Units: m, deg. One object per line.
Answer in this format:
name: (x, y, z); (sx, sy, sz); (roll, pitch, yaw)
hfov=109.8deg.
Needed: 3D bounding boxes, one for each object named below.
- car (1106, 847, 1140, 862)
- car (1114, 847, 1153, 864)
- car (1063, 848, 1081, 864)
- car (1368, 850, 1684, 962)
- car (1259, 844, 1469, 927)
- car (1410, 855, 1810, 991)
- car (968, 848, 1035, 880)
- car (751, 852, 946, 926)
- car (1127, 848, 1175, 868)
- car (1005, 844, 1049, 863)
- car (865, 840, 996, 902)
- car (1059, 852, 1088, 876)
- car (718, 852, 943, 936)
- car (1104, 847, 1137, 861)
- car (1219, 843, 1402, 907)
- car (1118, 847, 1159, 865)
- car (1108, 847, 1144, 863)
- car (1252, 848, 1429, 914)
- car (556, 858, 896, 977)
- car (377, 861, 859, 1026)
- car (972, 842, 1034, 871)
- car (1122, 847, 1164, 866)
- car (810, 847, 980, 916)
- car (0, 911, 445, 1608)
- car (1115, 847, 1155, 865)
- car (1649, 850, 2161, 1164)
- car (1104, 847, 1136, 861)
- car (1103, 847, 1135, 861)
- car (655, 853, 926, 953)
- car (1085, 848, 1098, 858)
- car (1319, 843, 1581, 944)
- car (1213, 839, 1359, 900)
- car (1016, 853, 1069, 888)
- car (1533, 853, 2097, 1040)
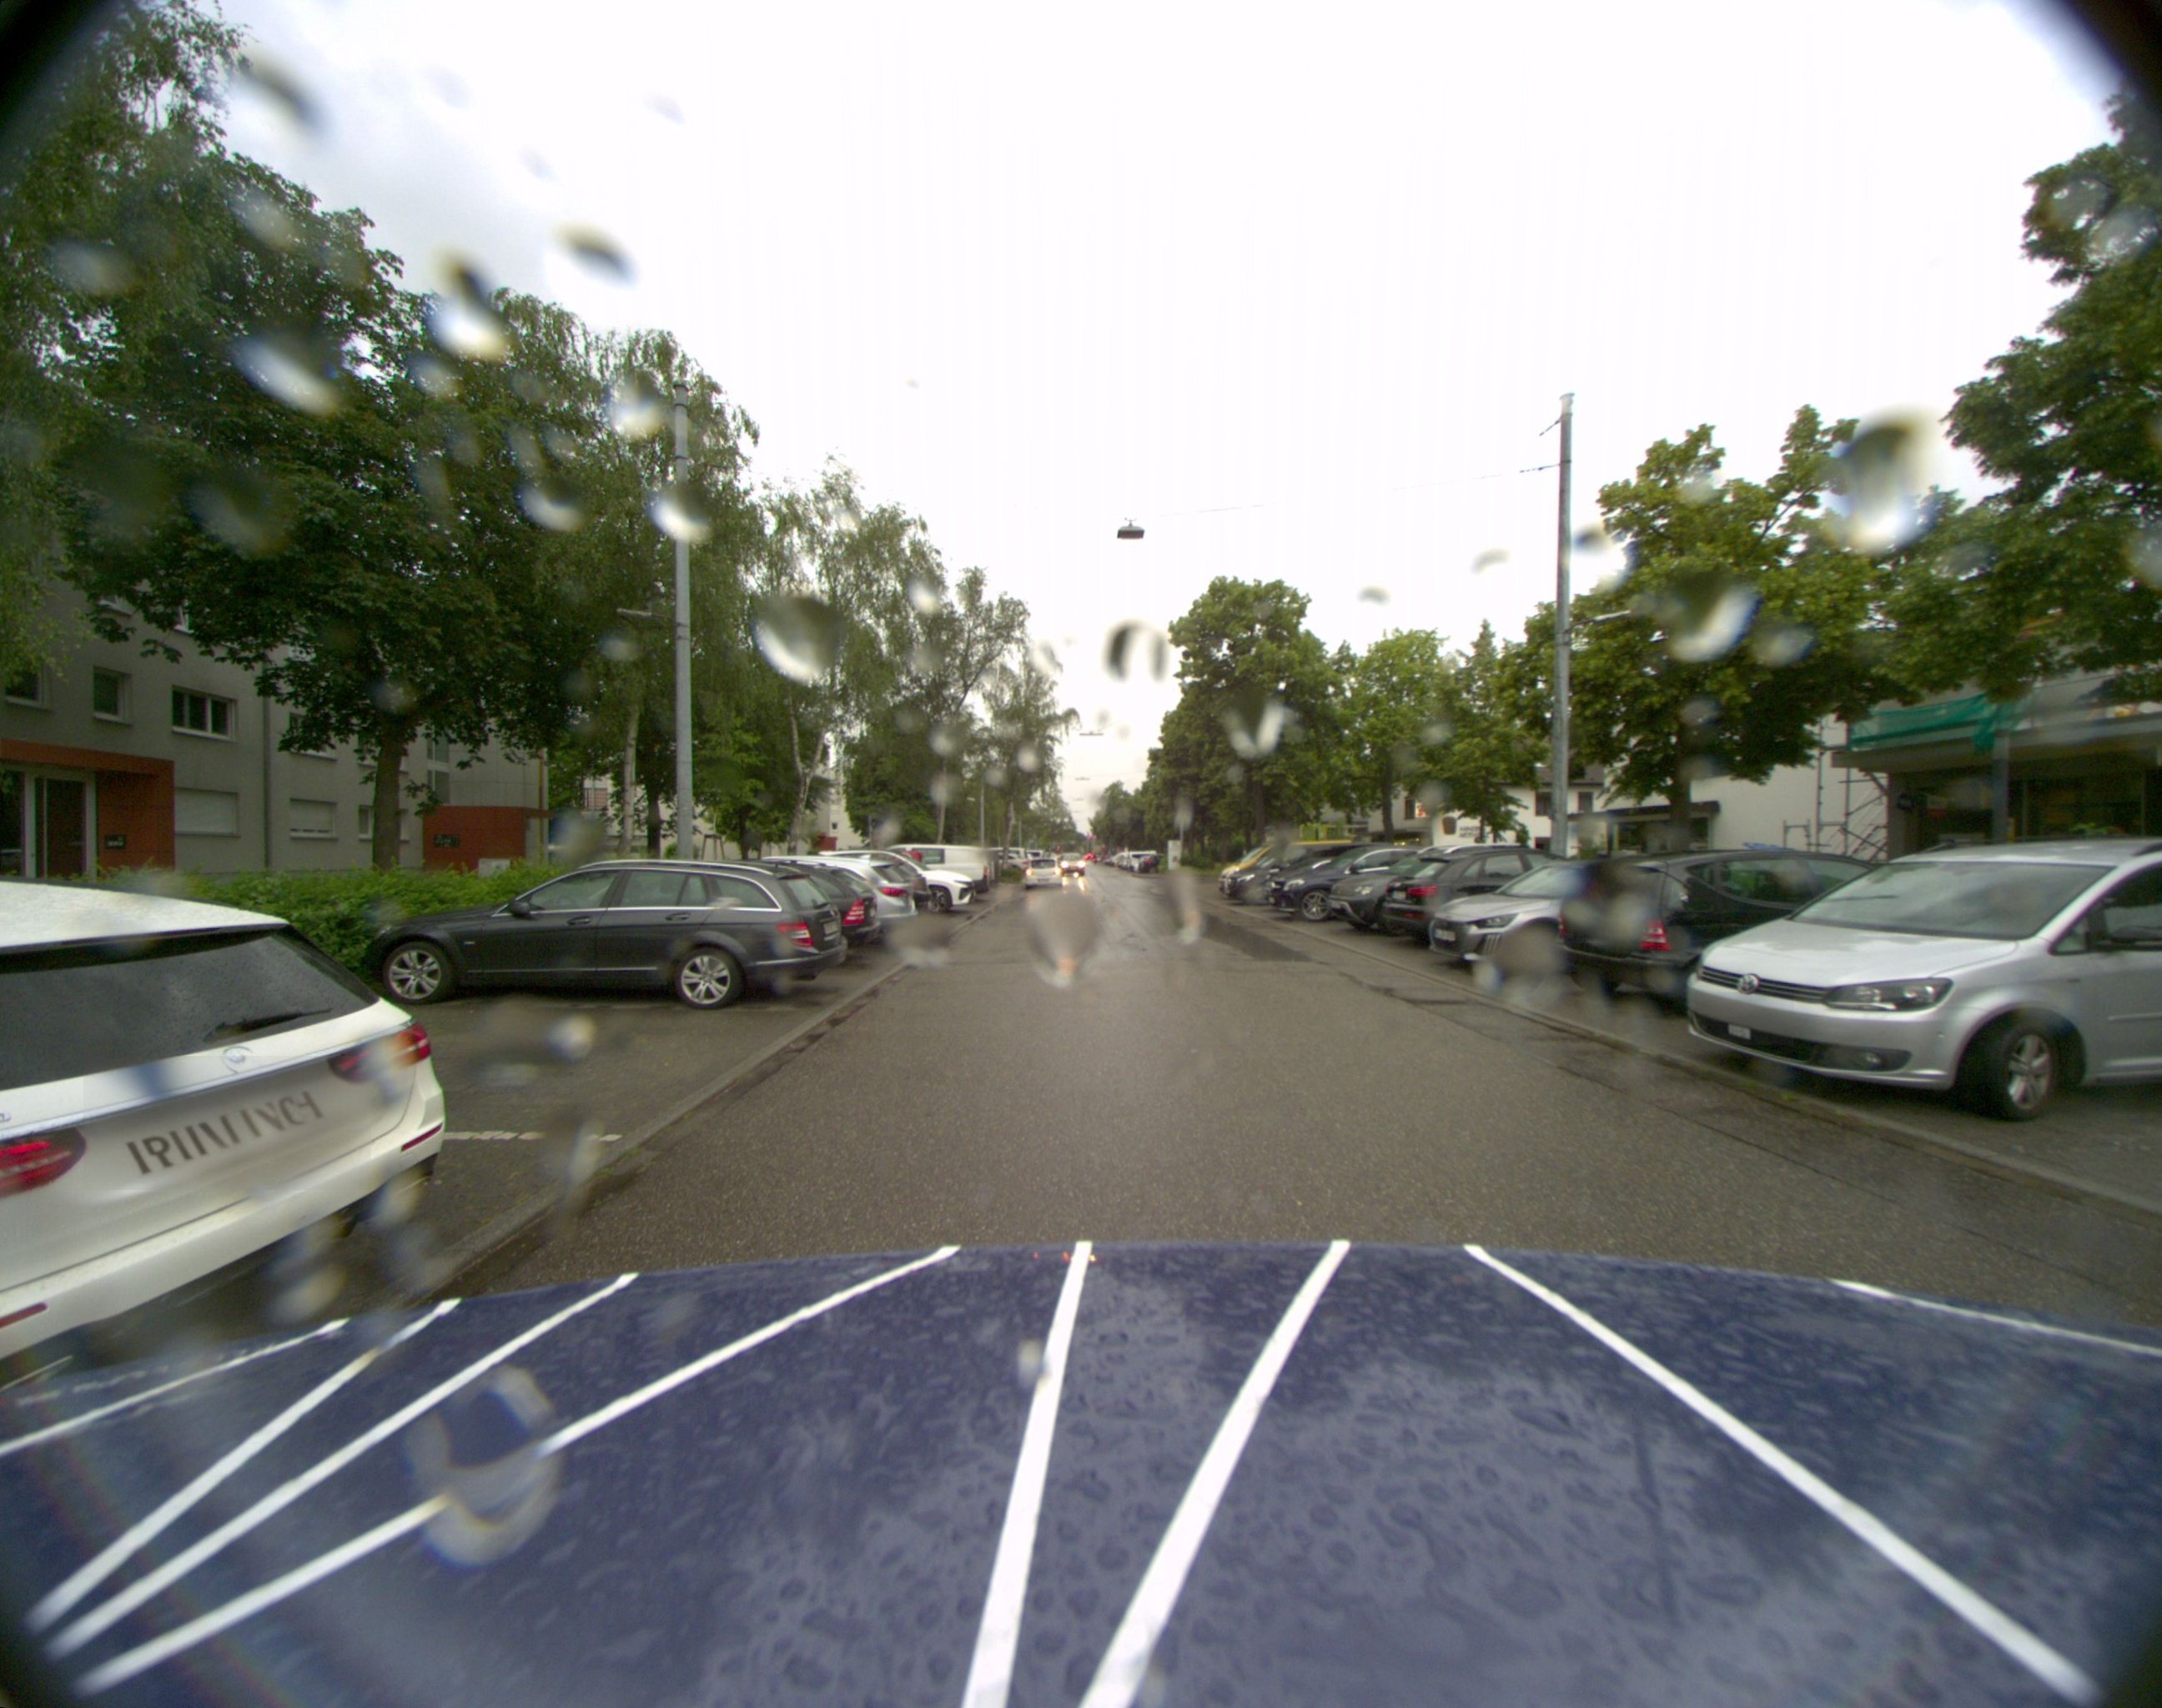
car: (5.214, 0.044, 94.416); (3.998, 1.675, 1.999); (-2, 1, -3)
car: (5.782, 0.162, 83.753); (3.998, 1.675, 1.999); (-2, 1, -3)
car: (-0.914, 0.179, 78.487); (1.733, 1.519, 4.138); (-1, 1, -2)
car: (7.265, 0.795, 12.679); (4.283, 1.586, 1.715); (-2, 1, -2)
car: (6.575, 0.693, 17.940); (4.283, 1.717, 1.715); (-2, 1, -2)
car: (6.976, 0.851, 10.309); (4.283, 1.523, 1.715); (-2, 1, -2)
car: (-5.113, 0.630, 49.330); (3.995, 1.902, 1.902); (-2, 1, 4)
car: (-5.342, 0.788, 17.843); (4.049, 1.488, 1.680); (2, 1, -3)
car: (6.310, 0.333, 68.622); (3.998, 1.675, 1.999); (-2, 1, -3)
car: (-5.283, -0.034, 75.032); (3.995, 1.670, 1.902); (-2, 1, 4)
car: (-5.102, 0.560, 26.183); (4.182, 1.856, 1.679); (3, 1, -6)
car: (-0.592, 0.713, 56.354); (1.840, 1.677, 3.998); (-2, 1, -4)
car: (-5.019, 0.774, 15.643); (4.049, 1.488, 1.680); (2, 1, -3)
car: (5.023, 0.018, 96.937); (3.998, 1.675, 1.999); (-2, 1, -3)
car: (7.113, 0.619, 23.854); (5.177, 1.789, 1.715); (-2, 1, -2)
car: (5.940, 0.216, 78.612); (3.998, 1.675, 1.999); (-2, 1, -3)
car: (5.331, 0.093, 90.309); (3.998, 1.675, 1.999); (-2, 1, -3)
car: (7.119, 0.716, 21.090); (4.283, 1.617, 1.715); (-2, 1, -2)
car: (-4.903, 0.858, 10.932); (4.049, 1.431, 1.680); (2, 1, -3)
car: (-4.655, 0.880, 8.121); (4.049, 1.431, 1.680); (2, 1, -3)
car: (-5.527, 0.182, 54.213); (3.995, 1.902, 1.902); (-2, 1, 4)
car: (6.189, 0.240, 76.063); (3.998, 1.675, 1.999); (-2, 1, -3)
car: (-5.020, 0.722, 20.896); (4.179, 1.609, 1.680); (3, 1, 1)
car: (-4.748, 0.918, 2.057); (4.623, 1.431, 1.680); (2, 1, 0)
car: (5.754, 0.190, 81.188); (3.998, 1.675, 1.999); (-2, 1, -3)
car: (6.636, 0.853, 5.187); (4.283, 1.625, 1.715); (-2, 1, -2)
car: (5.199, -0.056, 101.612); (3.998, 1.675, 1.999); (-2, 1, -3)
car: (4.966, -0.009, 99.170); (3.998, 1.675, 1.999); (-2, 1, -3)
car: (-4.895, 0.801, 13.231); (4.049, 1.488, 1.680); (2, 1, -3)
car: (1.667, -0.193, 122.723); (1.999, 1.617, 3.999); (-2, 1, -1)
car: (7.079, 0.709, 14.845); (4.283, 1.717, 1.715); (-2, 1, -2)
car: (7.185, 0.526, 26.904); (4.657, 1.947, 1.715); (-2, 1, -2)
car: (-1.751, 0.752, 36.278); (1.998, 1.446, 4.258); (-2, 1, 4)
car: (7.248, 0.838, 7.778); (4.283, 1.556, 1.635); (-2, 1, -2)
